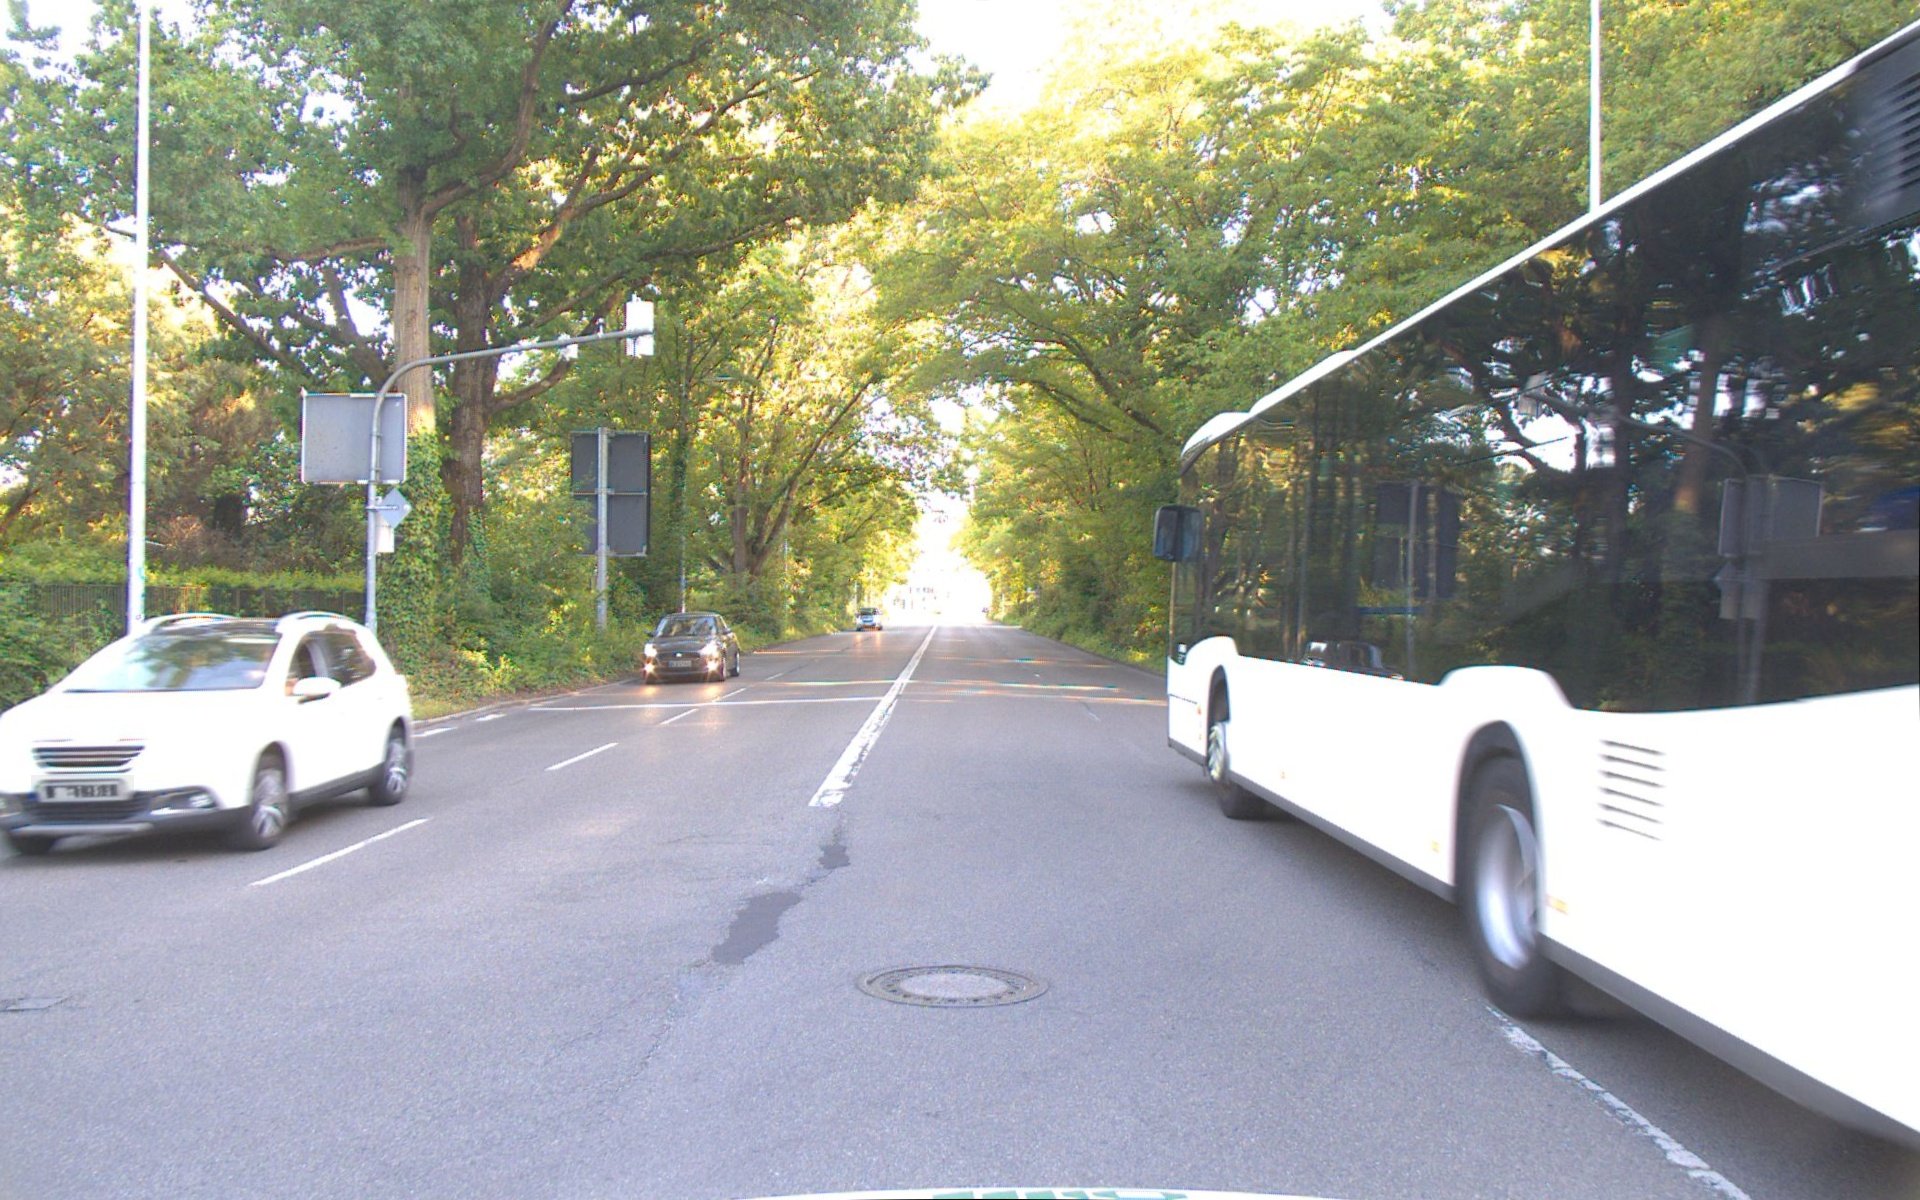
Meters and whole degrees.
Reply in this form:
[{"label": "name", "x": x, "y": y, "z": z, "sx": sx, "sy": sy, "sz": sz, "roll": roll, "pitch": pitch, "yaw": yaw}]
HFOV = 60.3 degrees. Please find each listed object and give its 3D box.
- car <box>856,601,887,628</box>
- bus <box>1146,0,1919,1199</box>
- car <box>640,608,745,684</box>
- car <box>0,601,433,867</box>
[{"label": "car", "x": -5.644, "y": 0.906, "z": 105.908, "sx": 1.770, "sy": 1.607, "sz": 4.318, "roll": -2, "pitch": 0, "yaw": -1}, {"label": "bus", "x": 3.371, "y": -0.084, "z": 8.826, "sx": 2.951, "sy": 3.141, "sz": 12.266, "roll": 3, "pitch": 0, "yaw": -1}, {"label": "car", "x": -5.725, "y": 0.956, "z": 35.775, "sx": 1.673, "sy": 1.478, "sz": 3.639, "roll": -2, "pitch": 0, "yaw": -1}, {"label": "car", "x": -5.265, "y": 0.818, "z": 11.958, "sx": 1.643, "sy": 1.550, "sz": 3.901, "roll": -2, "pitch": 0, "yaw": -1}]
